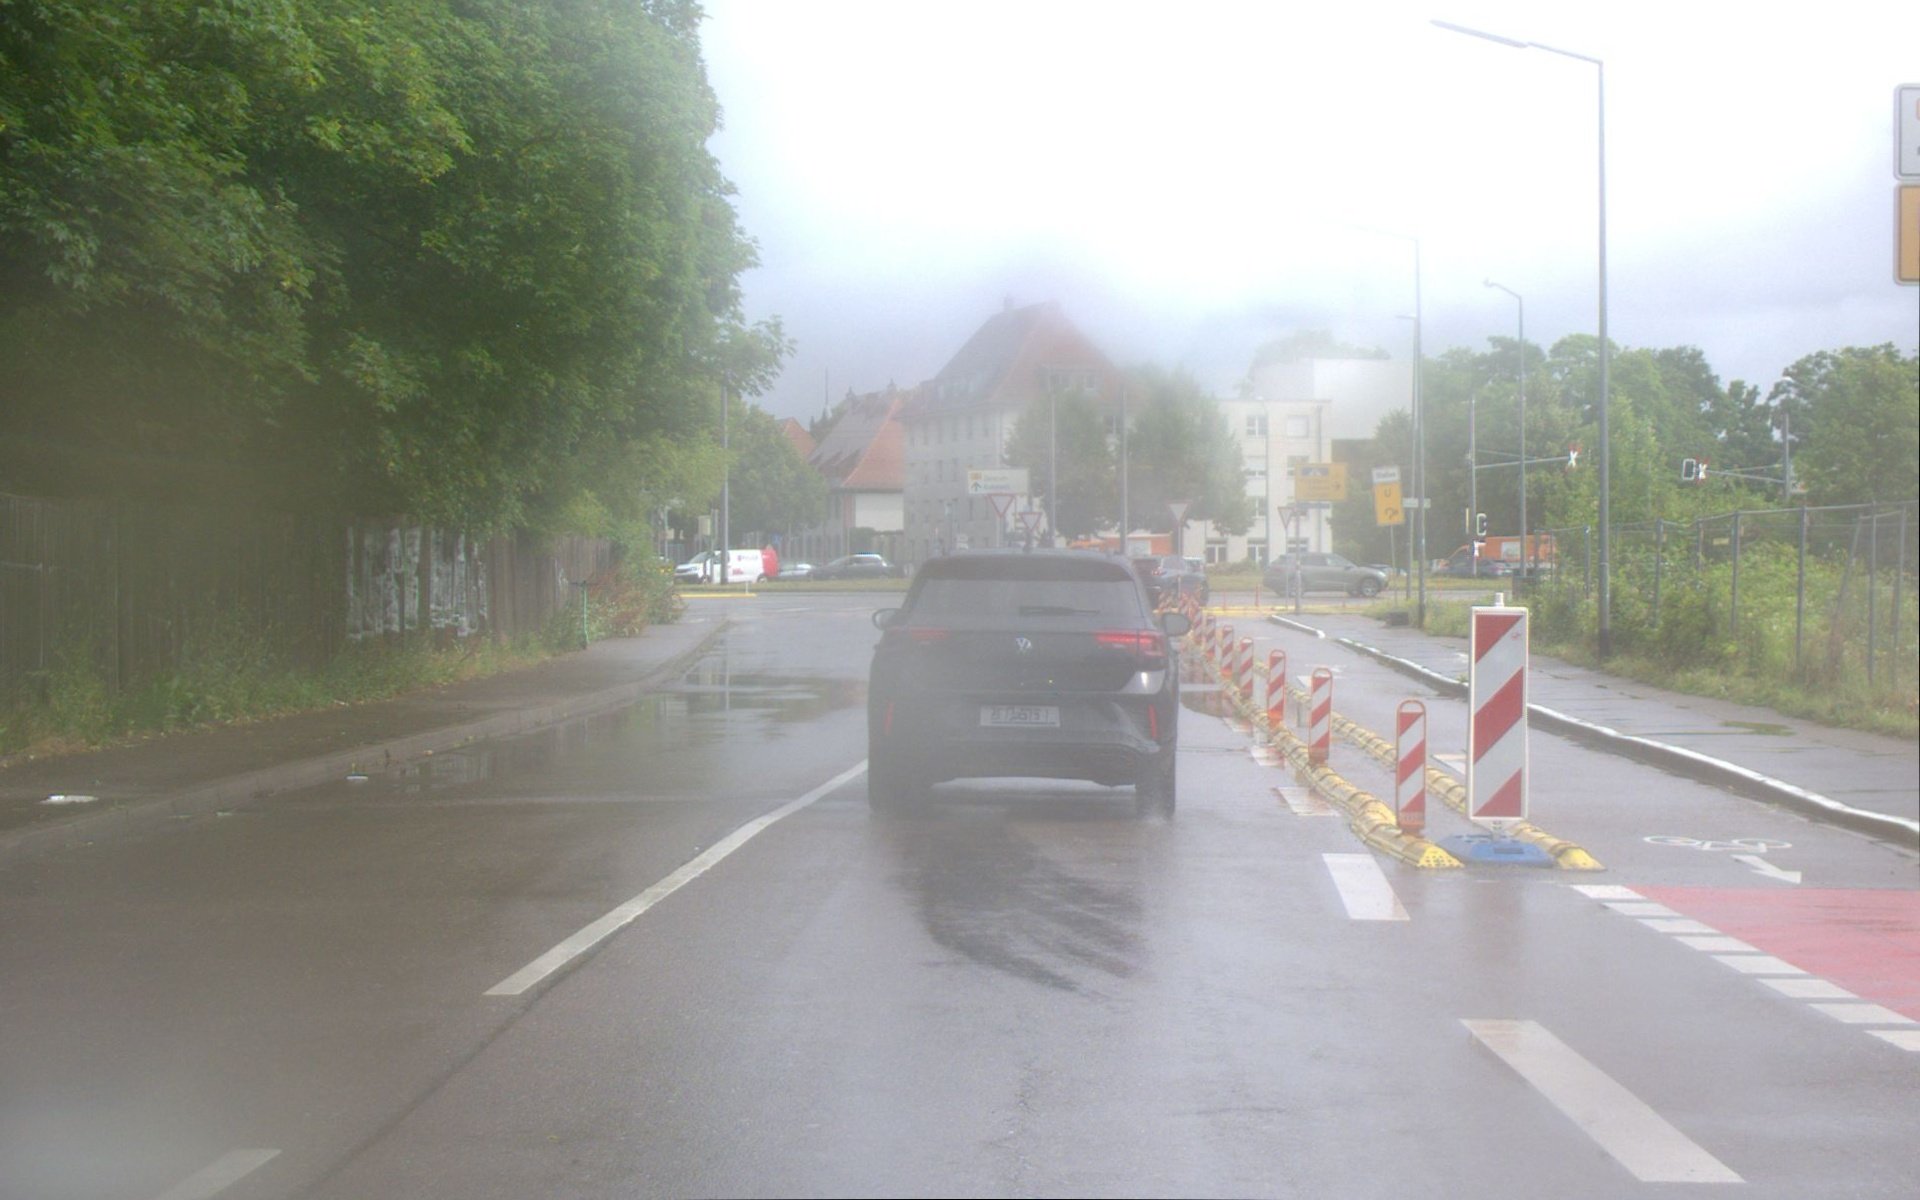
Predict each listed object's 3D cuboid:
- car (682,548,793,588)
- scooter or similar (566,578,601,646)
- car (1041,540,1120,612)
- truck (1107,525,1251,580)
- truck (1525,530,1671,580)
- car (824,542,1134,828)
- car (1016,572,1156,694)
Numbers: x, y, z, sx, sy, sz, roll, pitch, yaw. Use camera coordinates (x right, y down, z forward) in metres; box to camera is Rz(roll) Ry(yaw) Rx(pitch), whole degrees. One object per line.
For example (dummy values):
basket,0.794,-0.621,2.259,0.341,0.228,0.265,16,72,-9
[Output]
car,-10.640,-1.537,164.483,5.117,1.870,1.894,-1,1,-38
scooter or similar,-6.461,0.200,59.035,0.562,1.158,1.208,0,0,-5
car,3.098,-0.647,89.087,1.864,1.803,4.404,0,1,0
truck,10.886,-2.367,170.708,7.067,2.641,2.329,0,1,4
truck,31.280,-2.195,168.701,6.717,2.434,2.428,0,1,39
car,0.091,0.460,21.028,1.708,1.568,3.683,1,0,0
car,1.627,0.408,45.337,1.735,1.509,3.604,0,1,1
